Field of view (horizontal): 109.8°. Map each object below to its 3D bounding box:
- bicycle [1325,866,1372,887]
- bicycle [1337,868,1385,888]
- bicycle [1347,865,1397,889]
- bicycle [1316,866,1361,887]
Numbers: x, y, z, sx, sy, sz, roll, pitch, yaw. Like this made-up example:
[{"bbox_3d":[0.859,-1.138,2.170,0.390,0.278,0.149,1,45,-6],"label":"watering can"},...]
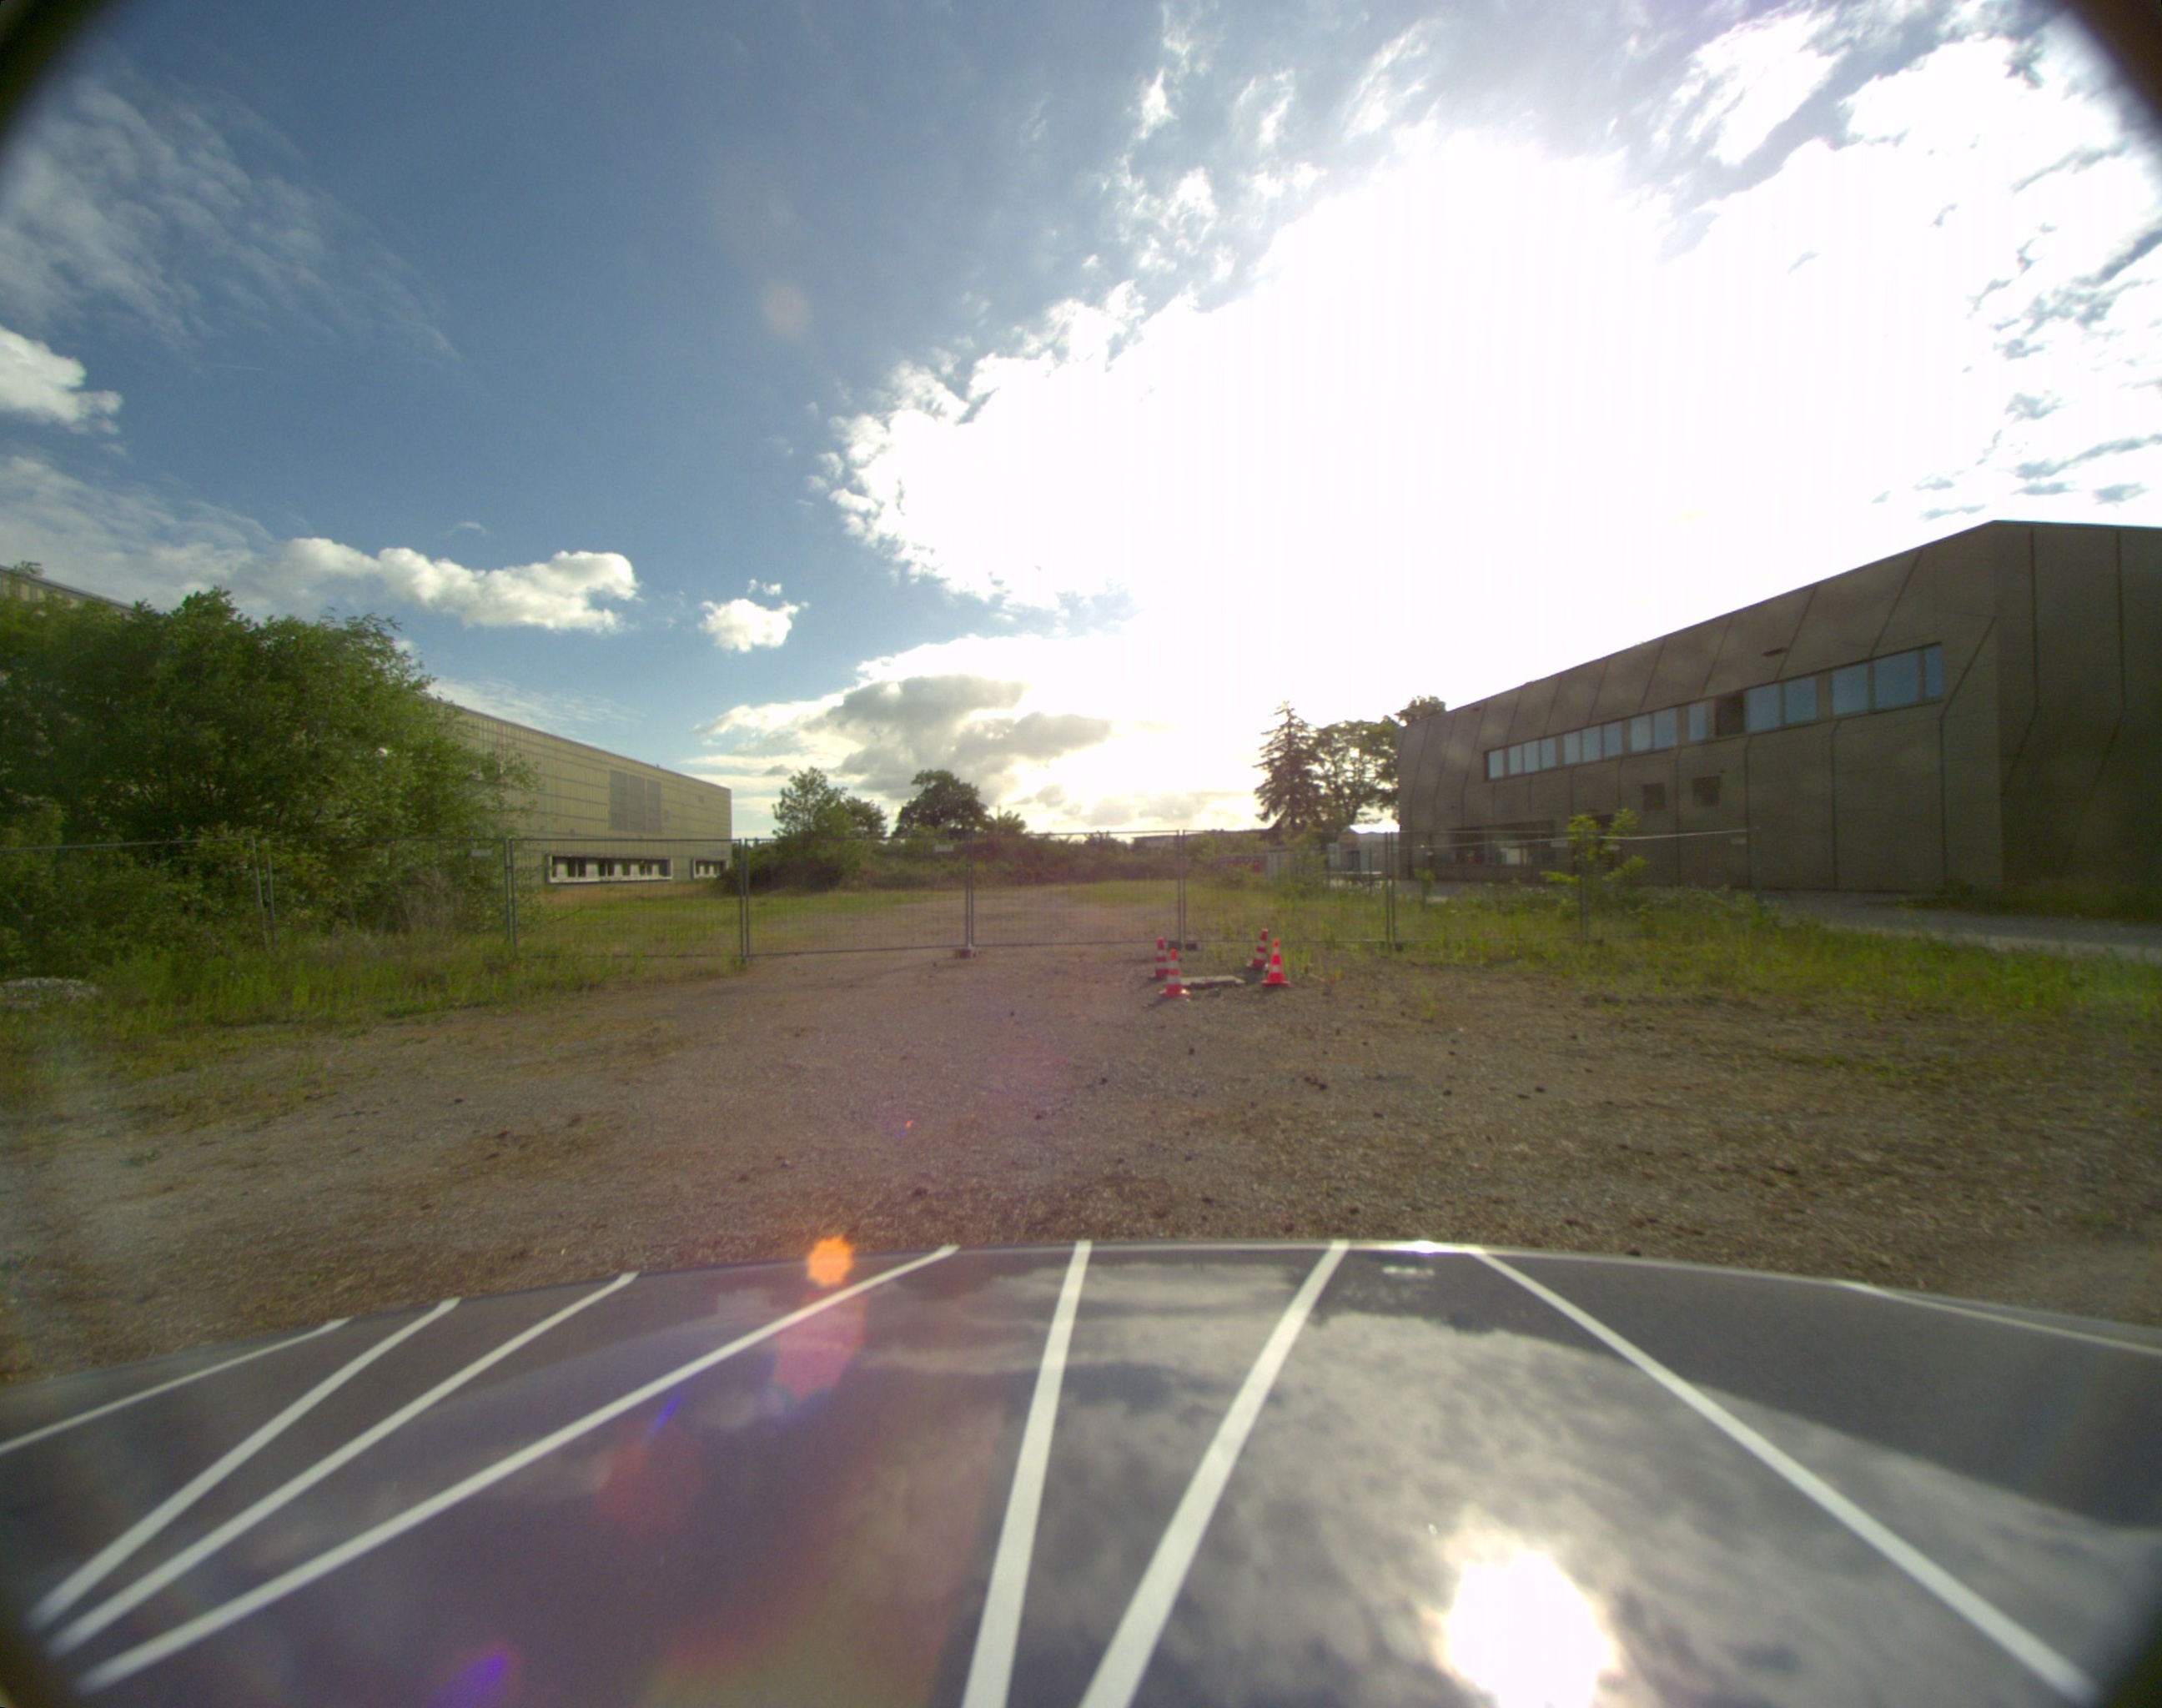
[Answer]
[{"bbox_3d":[13.922,1.160,39.534,2.069,1.038,0.945,-1,0,-8],"label":"bicycle"},{"bbox_3d":[14.197,1.209,38.553,2.069,0.916,0.945,-1,0,-8],"label":"bicycle"},{"bbox_3d":[14.282,1.115,37.302,2.069,1.080,0.945,-1,0,-8],"label":"bicycle"},{"bbox_3d":[13.777,1.196,40.644,2.069,1.038,0.945,-1,0,-8],"label":"bicycle"}]
